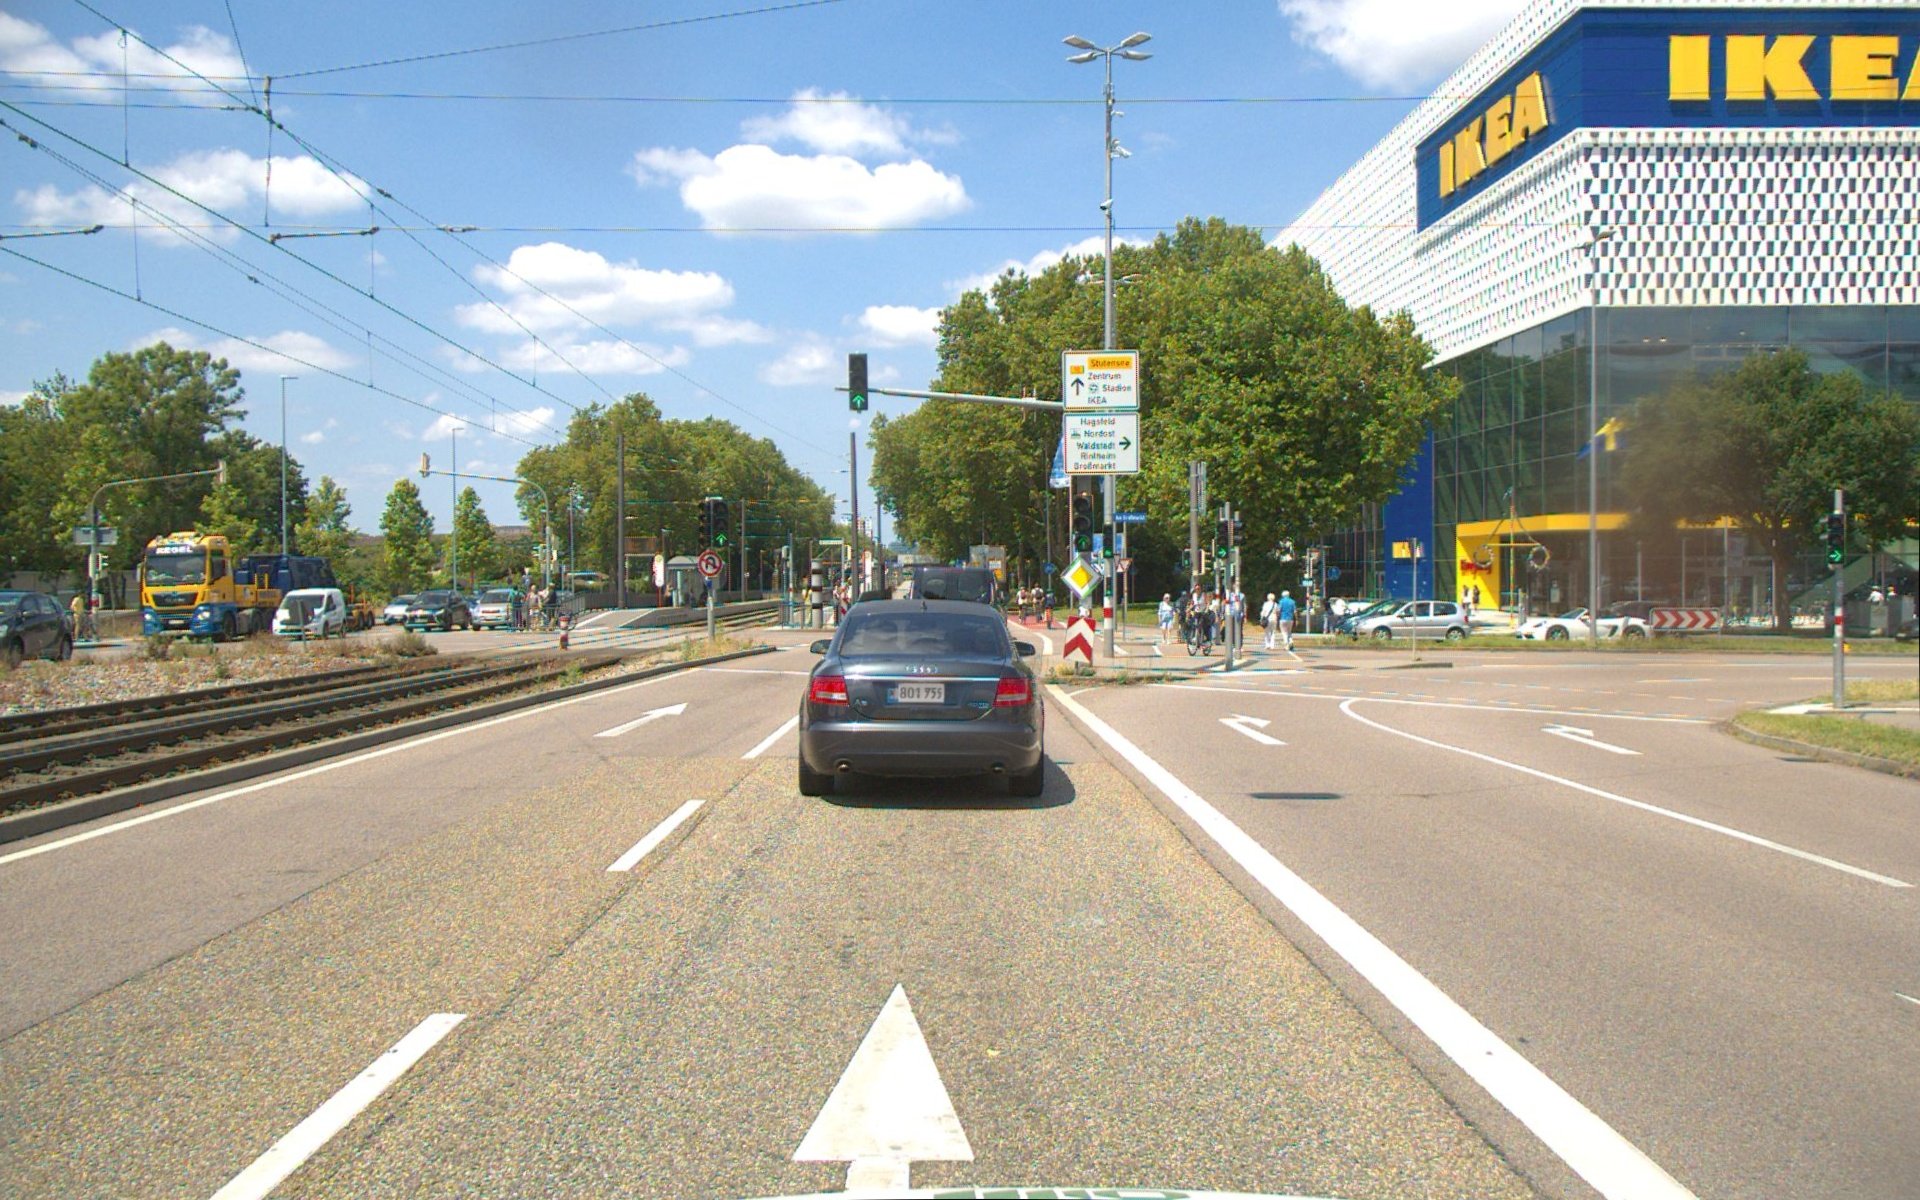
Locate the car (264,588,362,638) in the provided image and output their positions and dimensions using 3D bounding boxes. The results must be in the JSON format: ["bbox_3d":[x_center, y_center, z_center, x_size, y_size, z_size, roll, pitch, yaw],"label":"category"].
[{"bbox_3d":[-23.555,0.434,60.381,1.785,1.699,4.461,1,1,0],"label":"car"}]

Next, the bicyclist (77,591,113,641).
[{"bbox_3d":[-31.680,0.585,60.570,1.097,1.805,0.340,1,0,-6],"label":"bicyclist"}]

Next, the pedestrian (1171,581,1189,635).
[{"bbox_3d":[7.006,0.260,52.699,0.510,1.699,0.494,1,0,2],"label":"pedestrian"}]

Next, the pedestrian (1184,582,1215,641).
[{"bbox_3d":[6.745,0.318,46.573,0.699,1.663,0.706,1,0,24],"label":"pedestrian"}]

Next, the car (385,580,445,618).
[{"bbox_3d":[-27.901,-0.062,84.796,1.765,1.849,4.000,1,0,-1],"label":"car"}]

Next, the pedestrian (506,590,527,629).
[{"bbox_3d":[-16.558,0.356,61.745,0.671,1.468,0.572,0,0,-5],"label":"pedestrian"}]

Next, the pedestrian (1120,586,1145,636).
[{"bbox_3d":[5.298,0.337,50.652,0.656,1.529,0.609,1,0,16],"label":"pedestrian"}]

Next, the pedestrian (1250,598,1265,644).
[{"bbox_3d":[8.580,0.599,47.709,0.365,1.326,0.365,1,0,2],"label":"pedestrian"}]

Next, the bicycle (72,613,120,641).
[{"bbox_3d":[-31.645,0.982,60.594,1.461,1.004,0.485,1,0,-5],"label":"bicycle"}]

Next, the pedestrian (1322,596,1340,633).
[{"bbox_3d":[15.933,0.621,71.083,0.690,1.571,0.678,1,0,18],"label":"pedestrian"}]

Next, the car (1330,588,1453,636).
[{"bbox_3d":[14.733,0.394,56.593,3.710,1.512,2.001,2,1,2],"label":"car"}]

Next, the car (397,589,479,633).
[{"bbox_3d":[-21.487,0.418,68.247,1.784,1.699,4.462,1,1,2],"label":"car"}]

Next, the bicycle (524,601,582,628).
[{"bbox_3d":[-14.973,0.526,60.891,2.019,0.941,0.751,1,0,-11],"label":"bicycle"}]

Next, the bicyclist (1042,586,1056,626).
[{"bbox_3d":[3.840,0.255,71.171,0.518,1.705,1.088,0,0,-1],"label":"bicyclist"}]

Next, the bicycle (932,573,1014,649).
[{"bbox_3d":[0.422,0.287,47.557,1.951,2.049,4.003,1,0,6],"label":"bicycle"}]

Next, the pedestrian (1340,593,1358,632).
[{"bbox_3d":[16.670,0.530,70.810,0.690,1.663,0.612,1,0,18],"label":"pedestrian"}]

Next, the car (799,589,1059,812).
[{"bbox_3d":[-0.240,0.667,13.200,1.756,1.480,3.999,0,1,-1],"label":"car"}]

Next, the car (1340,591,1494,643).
[{"bbox_3d":[14.678,0.528,53.269,4.404,1.512,2.001,2,1,2],"label":"car"}]

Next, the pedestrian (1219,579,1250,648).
[{"bbox_3d":[7.664,0.370,46.193,0.671,1.878,0.706,1,0,25],"label":"pedestrian"}]

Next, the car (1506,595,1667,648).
[{"bbox_3d":[20.126,0.666,53.272,4.404,1.512,2.001,2,1,2],"label":"car"}]

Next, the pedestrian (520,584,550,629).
[{"bbox_3d":[-16.549,0.254,64.405,0.806,1.750,0.775,1,0,21],"label":"pedestrian"}]

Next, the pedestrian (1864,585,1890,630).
[{"bbox_3d":[41.961,0.349,75.667,0.696,2.049,0.824,1,0,1],"label":"pedestrian"}]

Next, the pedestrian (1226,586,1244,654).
[{"bbox_3d":[6.722,0.487,40.446,0.373,1.663,0.377,1,0,2],"label":"pedestrian"}]

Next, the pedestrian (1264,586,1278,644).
[{"bbox_3d":[8.961,0.429,47.700,0.314,1.663,0.377,1,0,2],"label":"pedestrian"}]

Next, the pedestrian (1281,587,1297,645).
[{"bbox_3d":[9.486,0.451,47.722,0.389,1.663,0.371,1,0,2],"label":"pedestrian"}]

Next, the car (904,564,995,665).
[{"bbox_3d":[-0.248,0.273,34.654,1.799,1.984,3.999,0,0,-1],"label":"car"}]

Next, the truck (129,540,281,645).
[{"bbox_3d":[-27.679,-0.269,60.949,2.711,3.631,6.438,1,0,-1],"label":"truck"}]

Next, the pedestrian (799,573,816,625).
[{"bbox_3d":[-6.084,-0.045,66.043,0.672,2.049,0.572,0,0,-5],"label":"pedestrian"}]

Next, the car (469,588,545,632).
[{"bbox_3d":[-18.735,0.375,68.534,1.784,1.699,4.462,1,1,1],"label":"car"}]

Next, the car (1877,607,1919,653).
[{"bbox_3d":[34.298,1.089,56.820,4.404,1.512,2.001,2,1,2],"label":"car"}]

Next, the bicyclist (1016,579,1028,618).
[{"bbox_3d":[2.892,-0.088,77.657,0.518,1.820,1.088,0,0,-1],"label":"bicyclist"}]

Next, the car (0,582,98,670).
[{"bbox_3d":[-19.973,0.498,34.569,1.786,1.699,4.458,1,1,-4],"label":"car"}]

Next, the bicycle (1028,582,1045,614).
[{"bbox_3d":[3.777,-0.086,81.785,0.674,1.545,2.751,1,0,-1],"label":"bicycle"}]

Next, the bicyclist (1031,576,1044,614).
[{"bbox_3d":[3.816,-0.242,81.459,0.518,1.820,1.088,0,0,-1],"label":"bicyclist"}]

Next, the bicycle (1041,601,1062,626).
[{"bbox_3d":[3.920,0.564,71.041,0.674,1.023,2.751,1,0,-1],"label":"bicycle"}]

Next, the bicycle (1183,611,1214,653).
[{"bbox_3d":[6.164,0.808,42.705,0.645,1.040,1.863,1,0,12],"label":"bicycle"}]

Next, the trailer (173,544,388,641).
[{"bbox_3d":[-27.859,-0.322,69.079,2.711,3.580,15.874,1,0,-1],"label":"trailer"}]

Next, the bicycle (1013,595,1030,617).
[{"bbox_3d":[2.893,0.269,77.621,0.674,1.011,2.751,1,0,-1],"label":"bicycle"}]

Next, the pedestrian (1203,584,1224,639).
[{"bbox_3d":[7.706,0.342,50.308,0.542,1.663,0.433,1,0,2],"label":"pedestrian"}]

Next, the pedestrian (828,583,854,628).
[{"bbox_3d":[-4.295,0.192,59.734,0.728,1.583,0.606,1,0,36],"label":"pedestrian"}]

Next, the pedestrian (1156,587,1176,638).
[{"bbox_3d":[6.297,0.386,50.513,0.483,1.546,0.707,1,0,16],"label":"pedestrian"}]

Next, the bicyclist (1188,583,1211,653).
[{"bbox_3d":[6.183,0.464,42.670,0.517,1.795,0.828,0,0,12],"label":"bicyclist"}]
